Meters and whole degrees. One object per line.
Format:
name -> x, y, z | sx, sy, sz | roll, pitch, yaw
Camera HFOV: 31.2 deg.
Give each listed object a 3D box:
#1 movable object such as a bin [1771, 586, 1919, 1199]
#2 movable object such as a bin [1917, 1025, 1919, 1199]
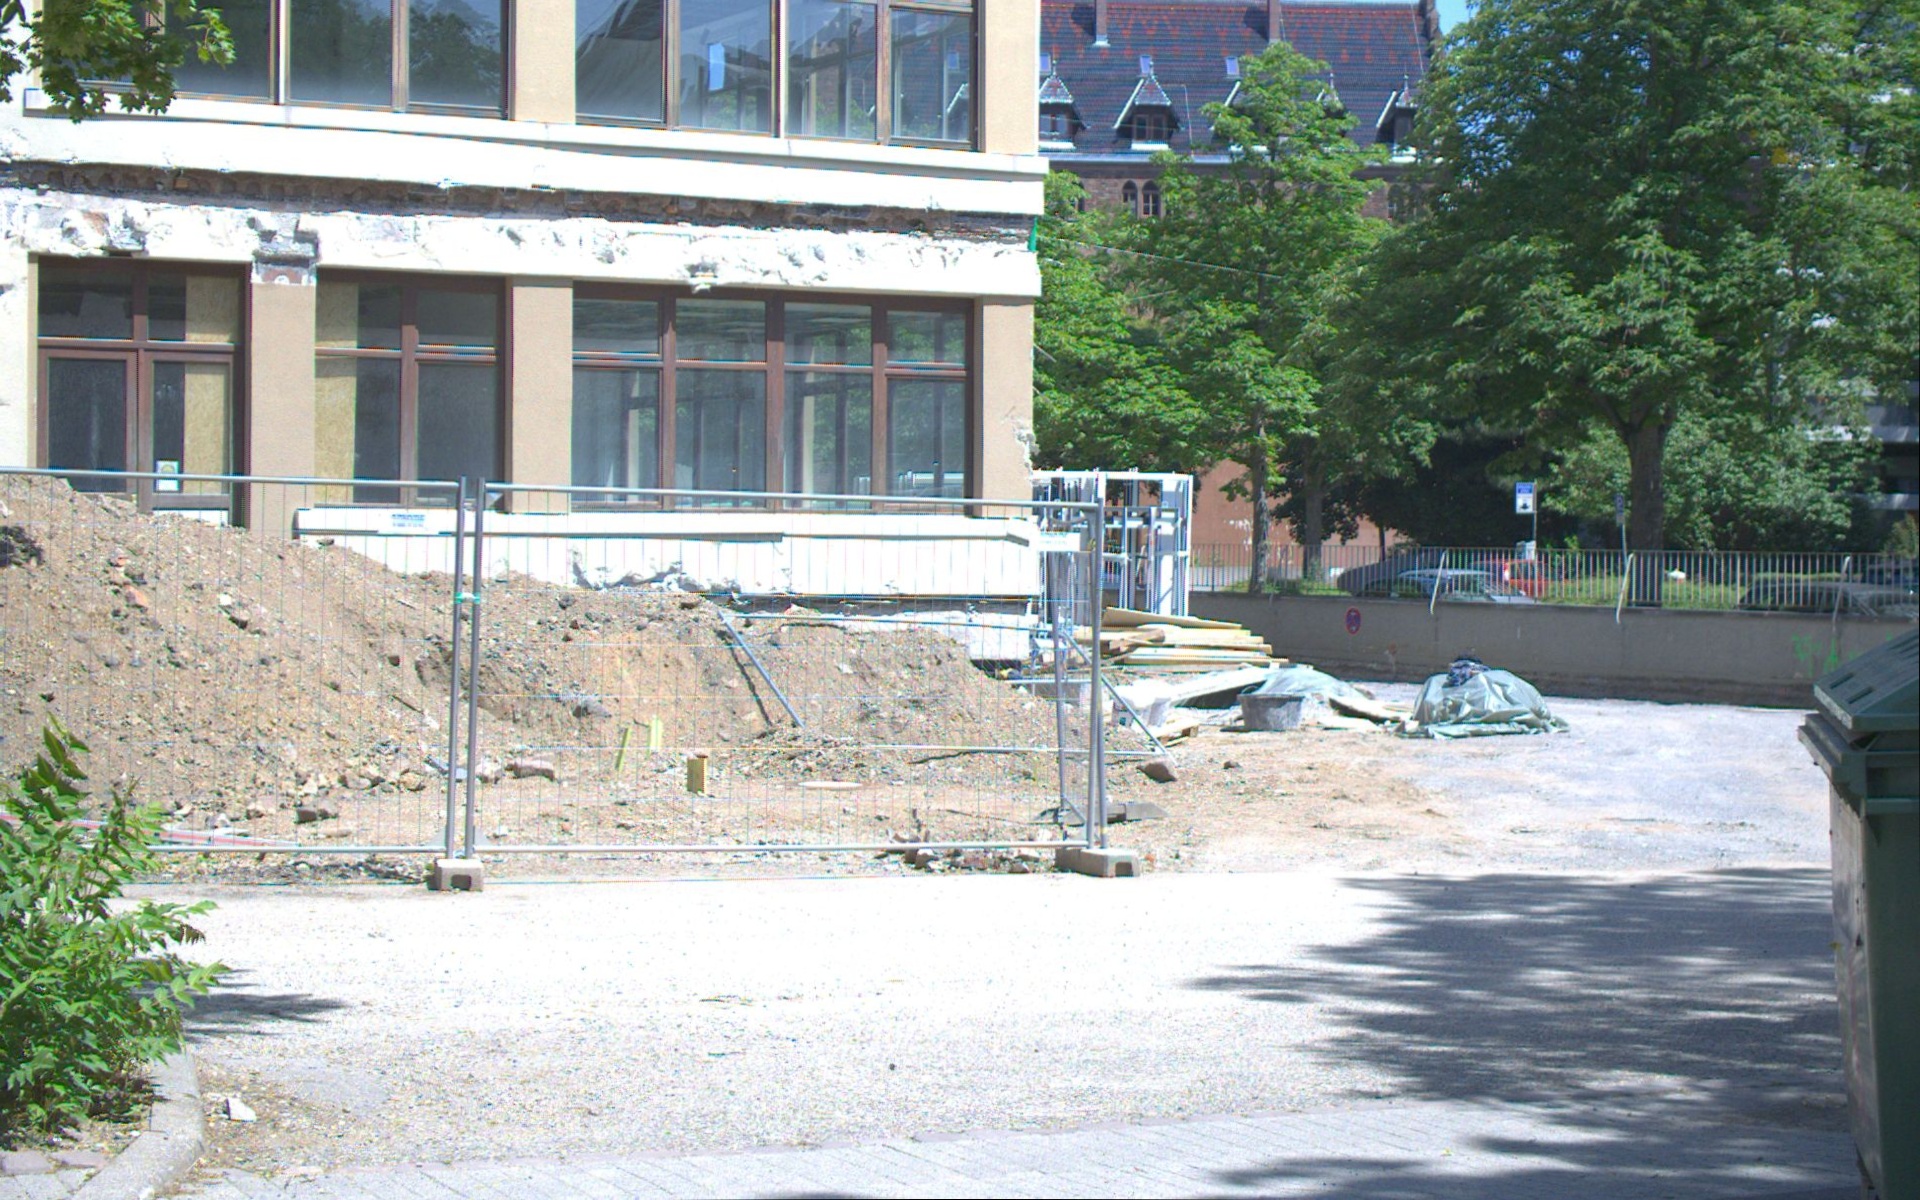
movable object such as a bin -> 2.275, 0.719, 6.896 | 1.179, 1.465, 1.332 | 1, 0, 11
movable object such as a bin -> 2.317, 0.714, 5.356 | 1.178, 1.465, 1.312 | 1, 0, -6
